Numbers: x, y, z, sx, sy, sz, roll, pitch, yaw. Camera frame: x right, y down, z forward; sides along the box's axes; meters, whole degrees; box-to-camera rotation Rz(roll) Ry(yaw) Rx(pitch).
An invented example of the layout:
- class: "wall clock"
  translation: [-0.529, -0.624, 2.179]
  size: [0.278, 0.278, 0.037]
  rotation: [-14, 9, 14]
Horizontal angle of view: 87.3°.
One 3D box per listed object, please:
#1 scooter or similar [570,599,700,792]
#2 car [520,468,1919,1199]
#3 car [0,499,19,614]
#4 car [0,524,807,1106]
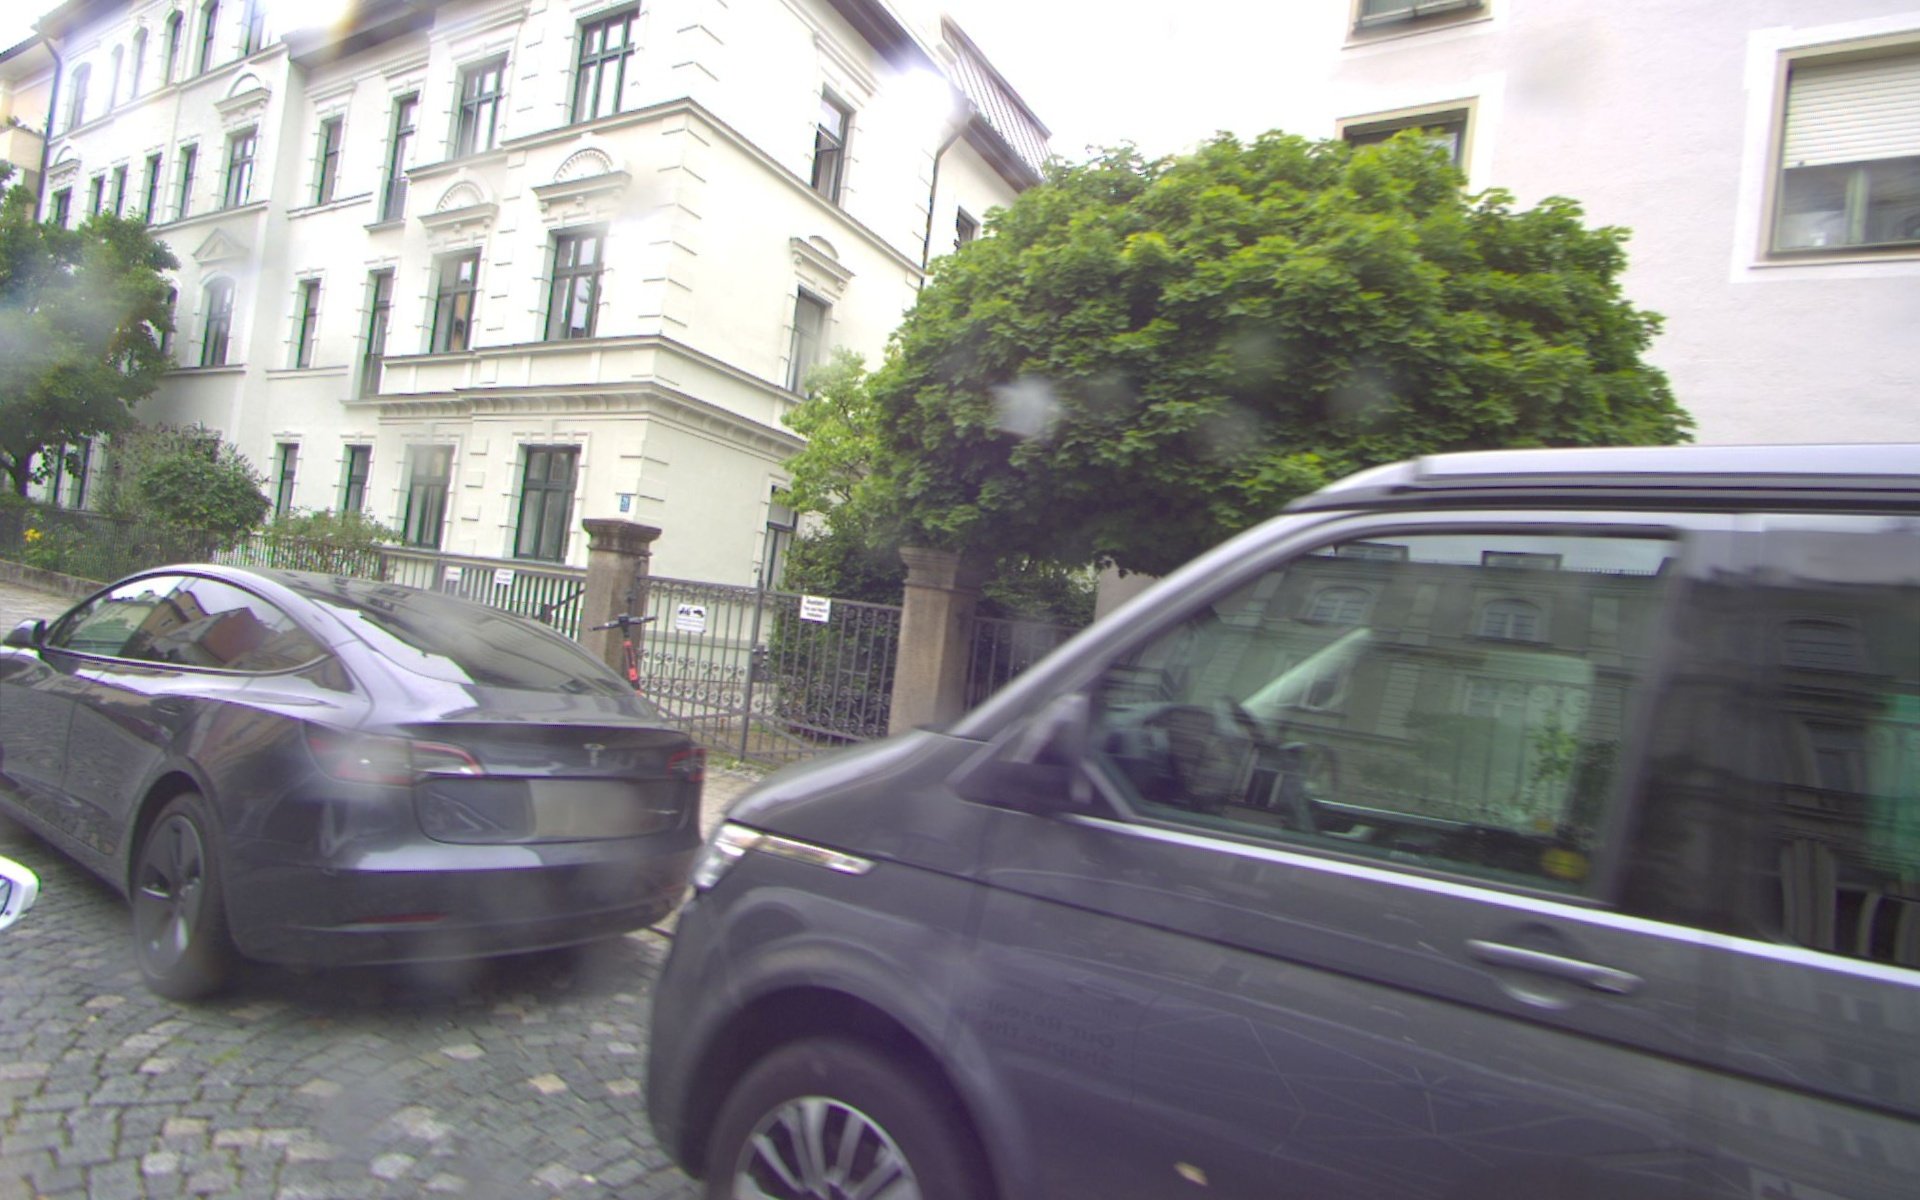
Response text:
- class: "scooter or similar"
  translation: [-2.638, 0.710, 8.057]
  size: [0.622, 1.349, 1.592]
  rotation: [5, 0, -28]
- class: "car"
  translation: [1.614, 0.880, 1.973]
  size: [4.769, 1.710, 2.025]
  rotation: [7, -1, 31]
- class: "car"
  translation: [-11.686, -0.453, 10.302]
  size: [3.980, 1.653, 1.926]
  rotation: [6, -4, 33]
- class: "car"
  translation: [-3.249, 0.582, 4.863]
  size: [4.722, 1.449, 1.927]
  rotation: [6, -4, 33]
